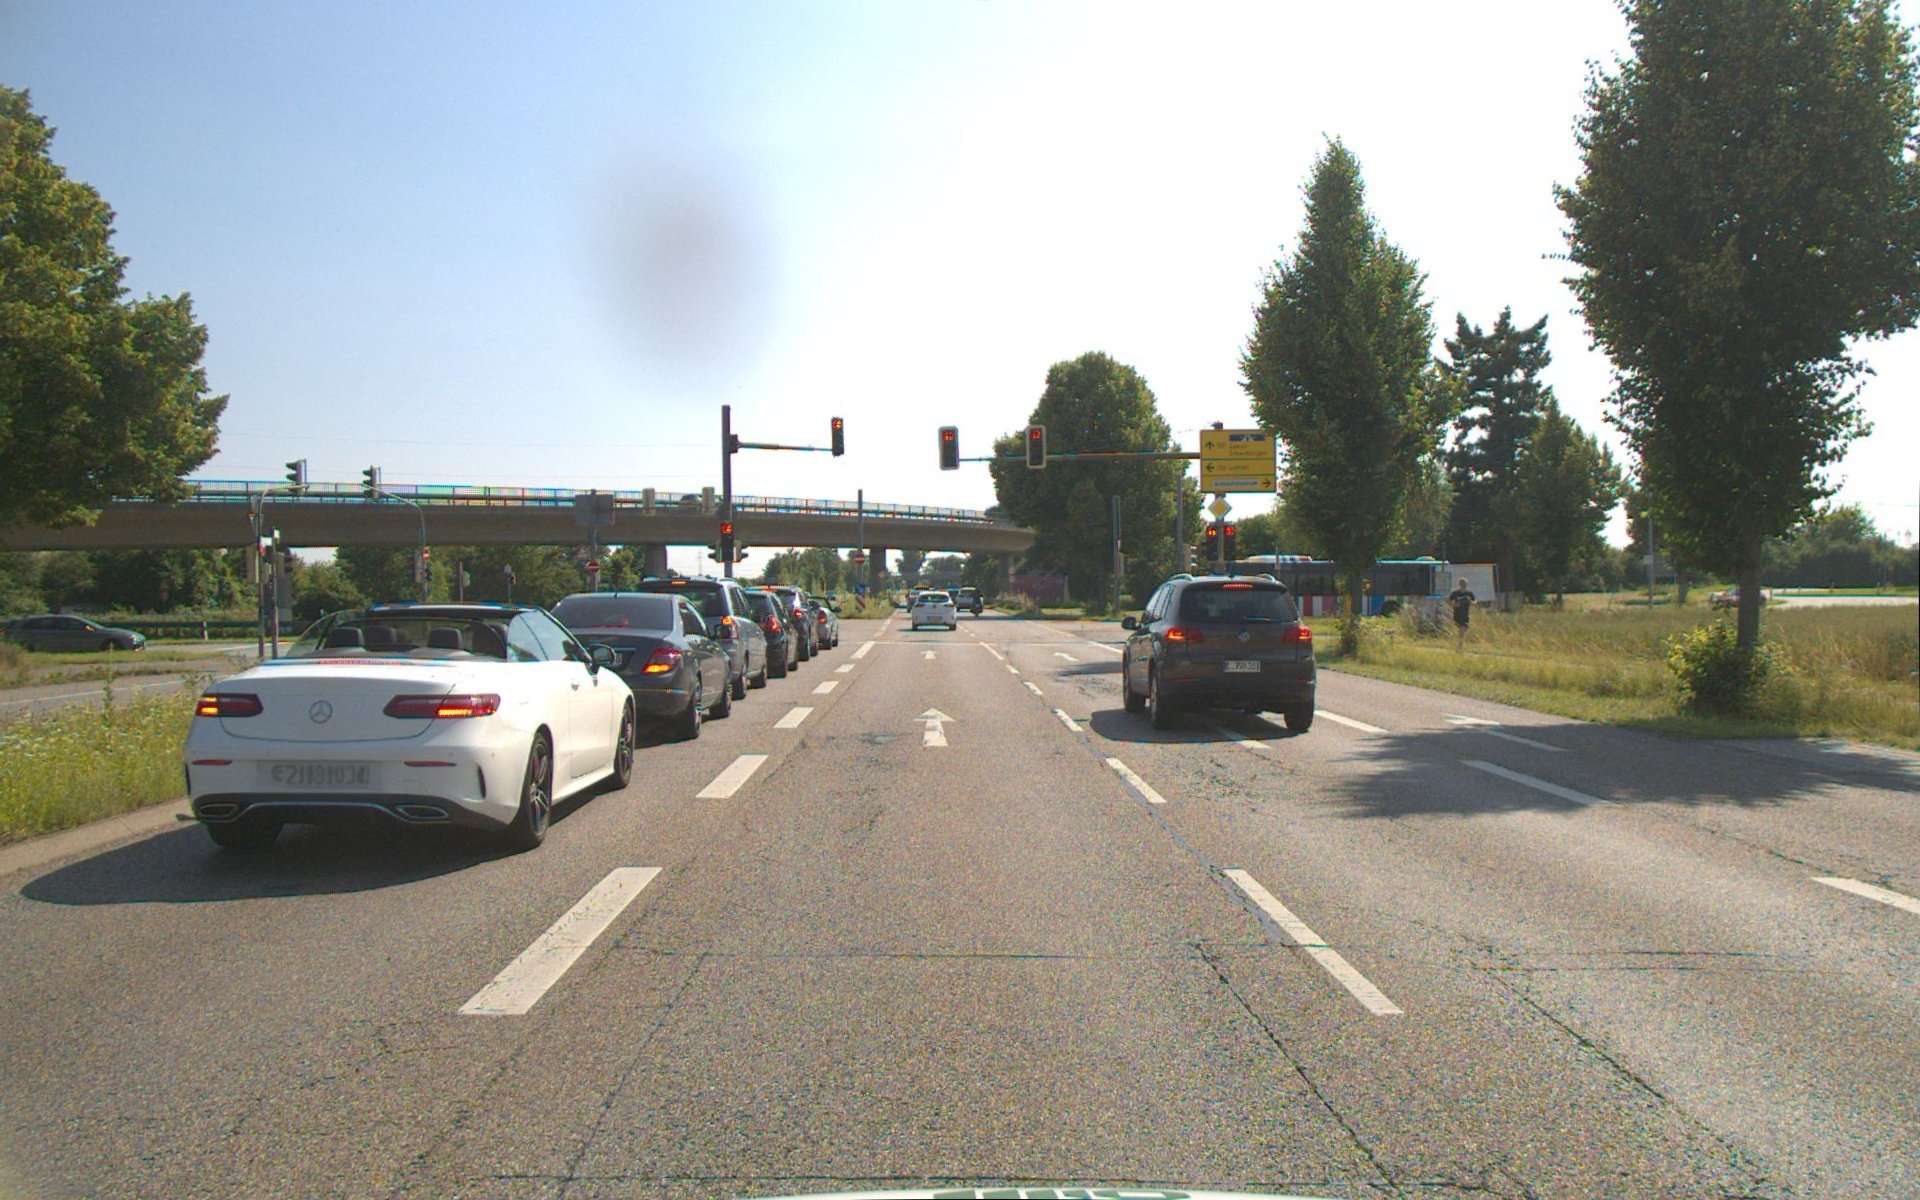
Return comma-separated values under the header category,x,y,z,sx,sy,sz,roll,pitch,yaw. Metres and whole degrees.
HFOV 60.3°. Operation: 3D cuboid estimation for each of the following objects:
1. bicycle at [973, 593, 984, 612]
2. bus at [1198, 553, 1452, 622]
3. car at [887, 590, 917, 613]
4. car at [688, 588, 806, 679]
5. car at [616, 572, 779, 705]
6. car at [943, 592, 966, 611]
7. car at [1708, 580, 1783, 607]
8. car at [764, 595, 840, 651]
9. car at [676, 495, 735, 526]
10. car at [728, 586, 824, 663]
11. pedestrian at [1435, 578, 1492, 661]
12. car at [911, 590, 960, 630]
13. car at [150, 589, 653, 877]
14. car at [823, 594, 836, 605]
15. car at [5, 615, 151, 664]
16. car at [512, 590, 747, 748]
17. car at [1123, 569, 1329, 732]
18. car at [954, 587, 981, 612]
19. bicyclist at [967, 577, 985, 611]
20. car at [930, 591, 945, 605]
category,x,y,z,sx,sy,sz,roll,pitch,yaw
bicycle,1.042,0.137,93.874,0.588,1.000,2.360,-1,1,-1
bus,17.256,-0.625,78.045,11.747,2.927,2.929,-1,0,-17
car,-3.872,0.069,110.675,1.835,1.518,4.000,0,0,0
car,-3.728,0.535,29.486,1.632,1.500,4.097,0,0,-1
car,-3.662,0.484,23.762,1.706,1.701,4.356,-1,0,-1
car,-0.499,0.125,151.789,1.953,1.660,3.998,2,-1,-2
car,44.419,-0.378,93.546,3.933,1.422,1.669,-1,0,-23
car,-4.024,0.559,42.635,1.640,1.358,4.097,0,0,-1
car,-17.368,-6.099,113.167,1.955,1.870,3.994,1,-1,28
car,-3.951,0.477,35.969,1.693,1.574,4.097,0,0,-1
pedestrian,11.651,0.441,38.321,0.883,1.871,1.194,-1,0,-4
car,-0.903,0.359,63.277,1.813,1.486,4.000,1,0,0
car,-3.253,0.663,10.685,1.767,1.450,4.640,0,0,-1
car,-18.142,-0.099,229.869,1.582,1.467,3.775,-3,0,-1
car,-29.225,1.295,54.937,4.055,1.449,1.859,-1,0,-22
car,-3.362,0.629,17.613,1.679,1.435,4.354,1,0,-1
car,2.994,0.525,19.422,1.719,1.684,4.146,1,0,0
car,0.496,-0.039,114.971,1.835,1.668,4.000,1,0,0
bicyclist,0.933,-0.323,94.221,0.986,1.919,1.327,-1,0,0
car,-2.872,-0.205,210.257,1.953,1.684,3.999,2,-1,-1
